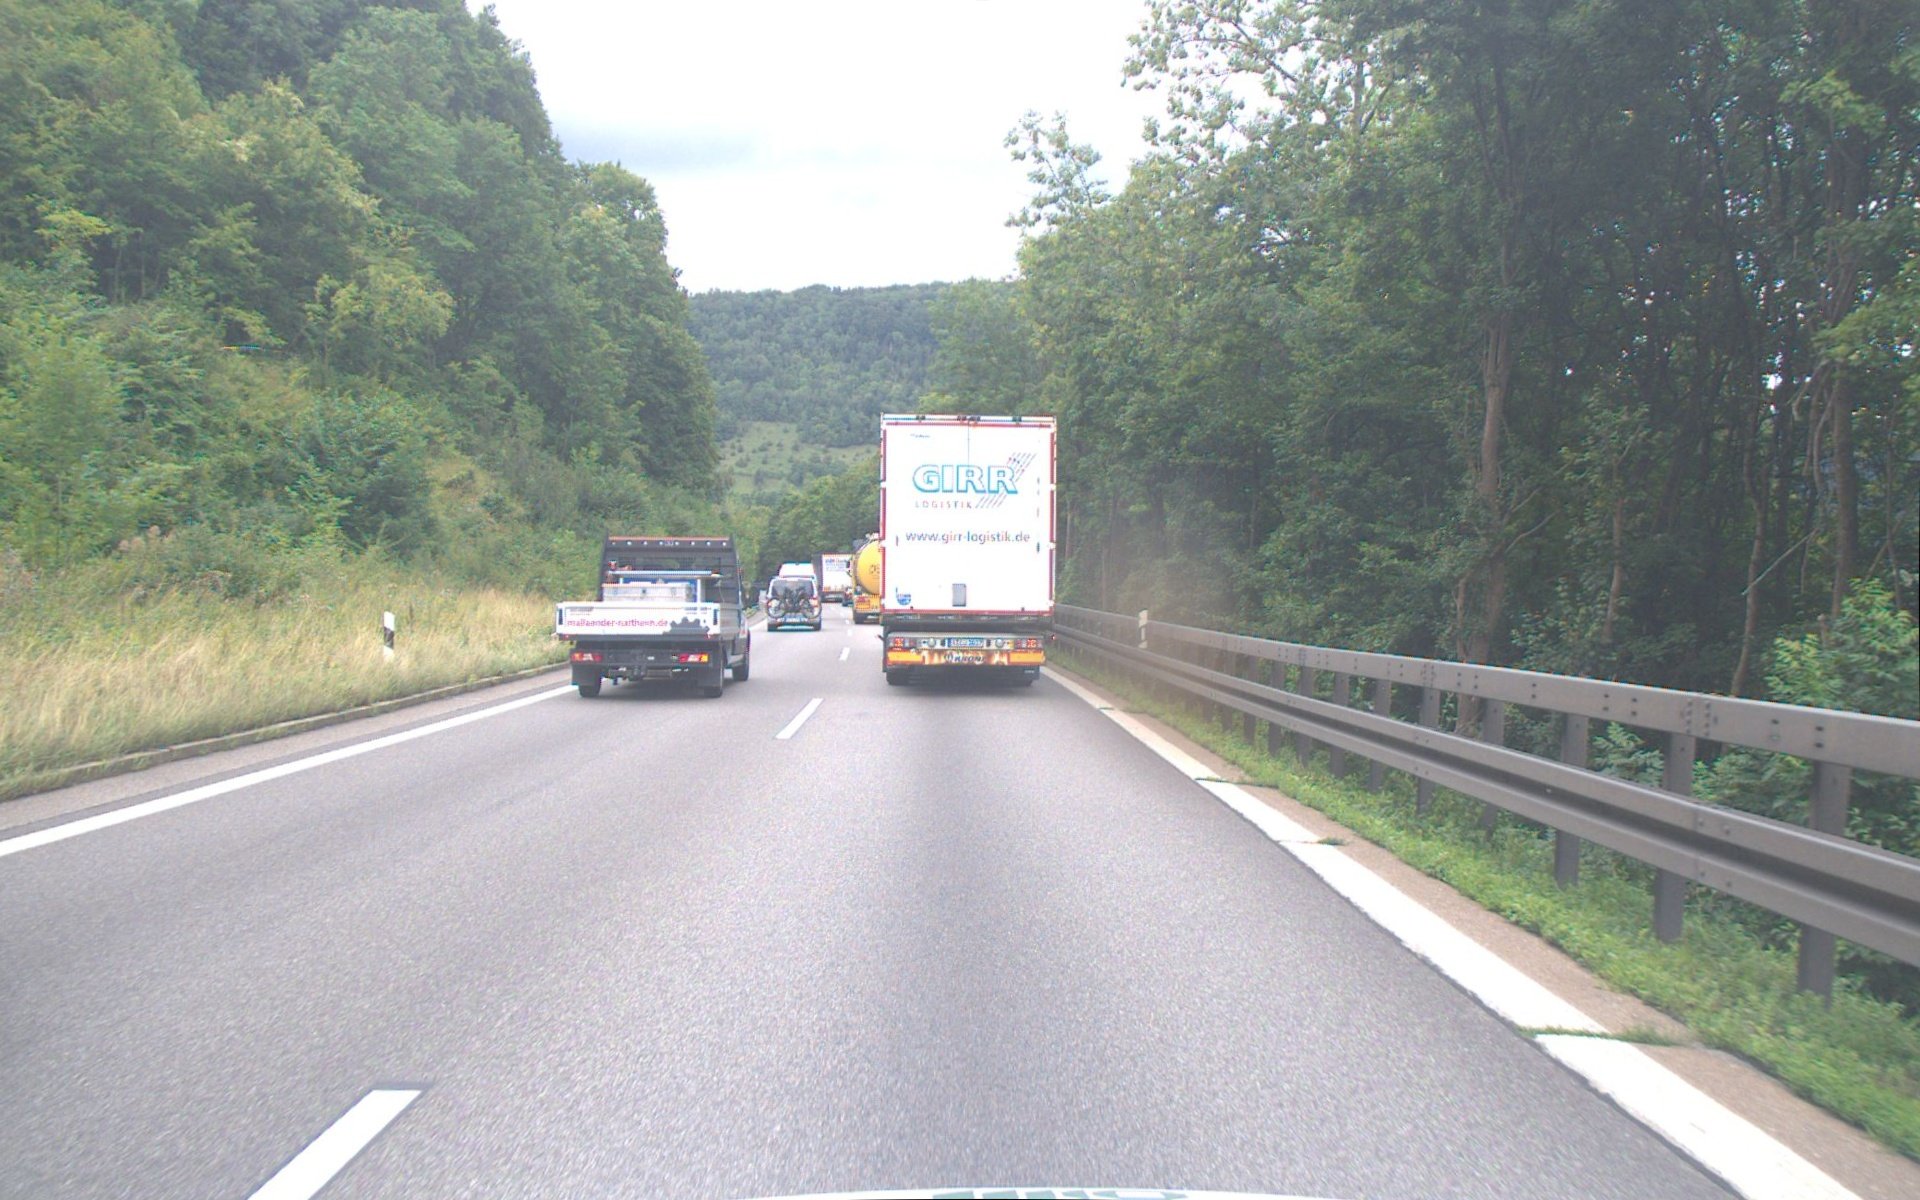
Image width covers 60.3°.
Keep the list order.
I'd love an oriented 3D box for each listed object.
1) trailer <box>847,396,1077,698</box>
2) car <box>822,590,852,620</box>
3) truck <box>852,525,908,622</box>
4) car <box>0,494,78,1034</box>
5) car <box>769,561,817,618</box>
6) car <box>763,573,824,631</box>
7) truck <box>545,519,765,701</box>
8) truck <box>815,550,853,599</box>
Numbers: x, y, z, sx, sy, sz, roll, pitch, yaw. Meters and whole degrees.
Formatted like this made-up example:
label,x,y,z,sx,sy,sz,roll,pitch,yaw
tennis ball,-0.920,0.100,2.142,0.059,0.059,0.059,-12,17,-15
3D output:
label,x,y,z,sx,sy,sz,roll,pitch,yaw
trailer,-0.153,-0.801,27.978,3.070,4.113,9.435,2,1,-2
car,-8.705,0.310,117.022,1.955,2.049,3.995,1,0,-6
truck,-3.402,-1.065,69.971,2.189,3.870,6.818,1,0,-3
car,-3.861,0.548,3.675,1.601,1.757,4.343,0,0,-2
car,-7.923,-0.505,78.919,2.082,2.644,5.559,0,1,-4
car,-5.921,0.028,59.369,1.978,1.947,5.559,1,1,-4
truck,-4.355,0.101,24.901,2.302,2.313,6.846,1,0,-3
truck,-10.573,-2.070,138.605,3.009,3.945,8.449,1,0,-5
